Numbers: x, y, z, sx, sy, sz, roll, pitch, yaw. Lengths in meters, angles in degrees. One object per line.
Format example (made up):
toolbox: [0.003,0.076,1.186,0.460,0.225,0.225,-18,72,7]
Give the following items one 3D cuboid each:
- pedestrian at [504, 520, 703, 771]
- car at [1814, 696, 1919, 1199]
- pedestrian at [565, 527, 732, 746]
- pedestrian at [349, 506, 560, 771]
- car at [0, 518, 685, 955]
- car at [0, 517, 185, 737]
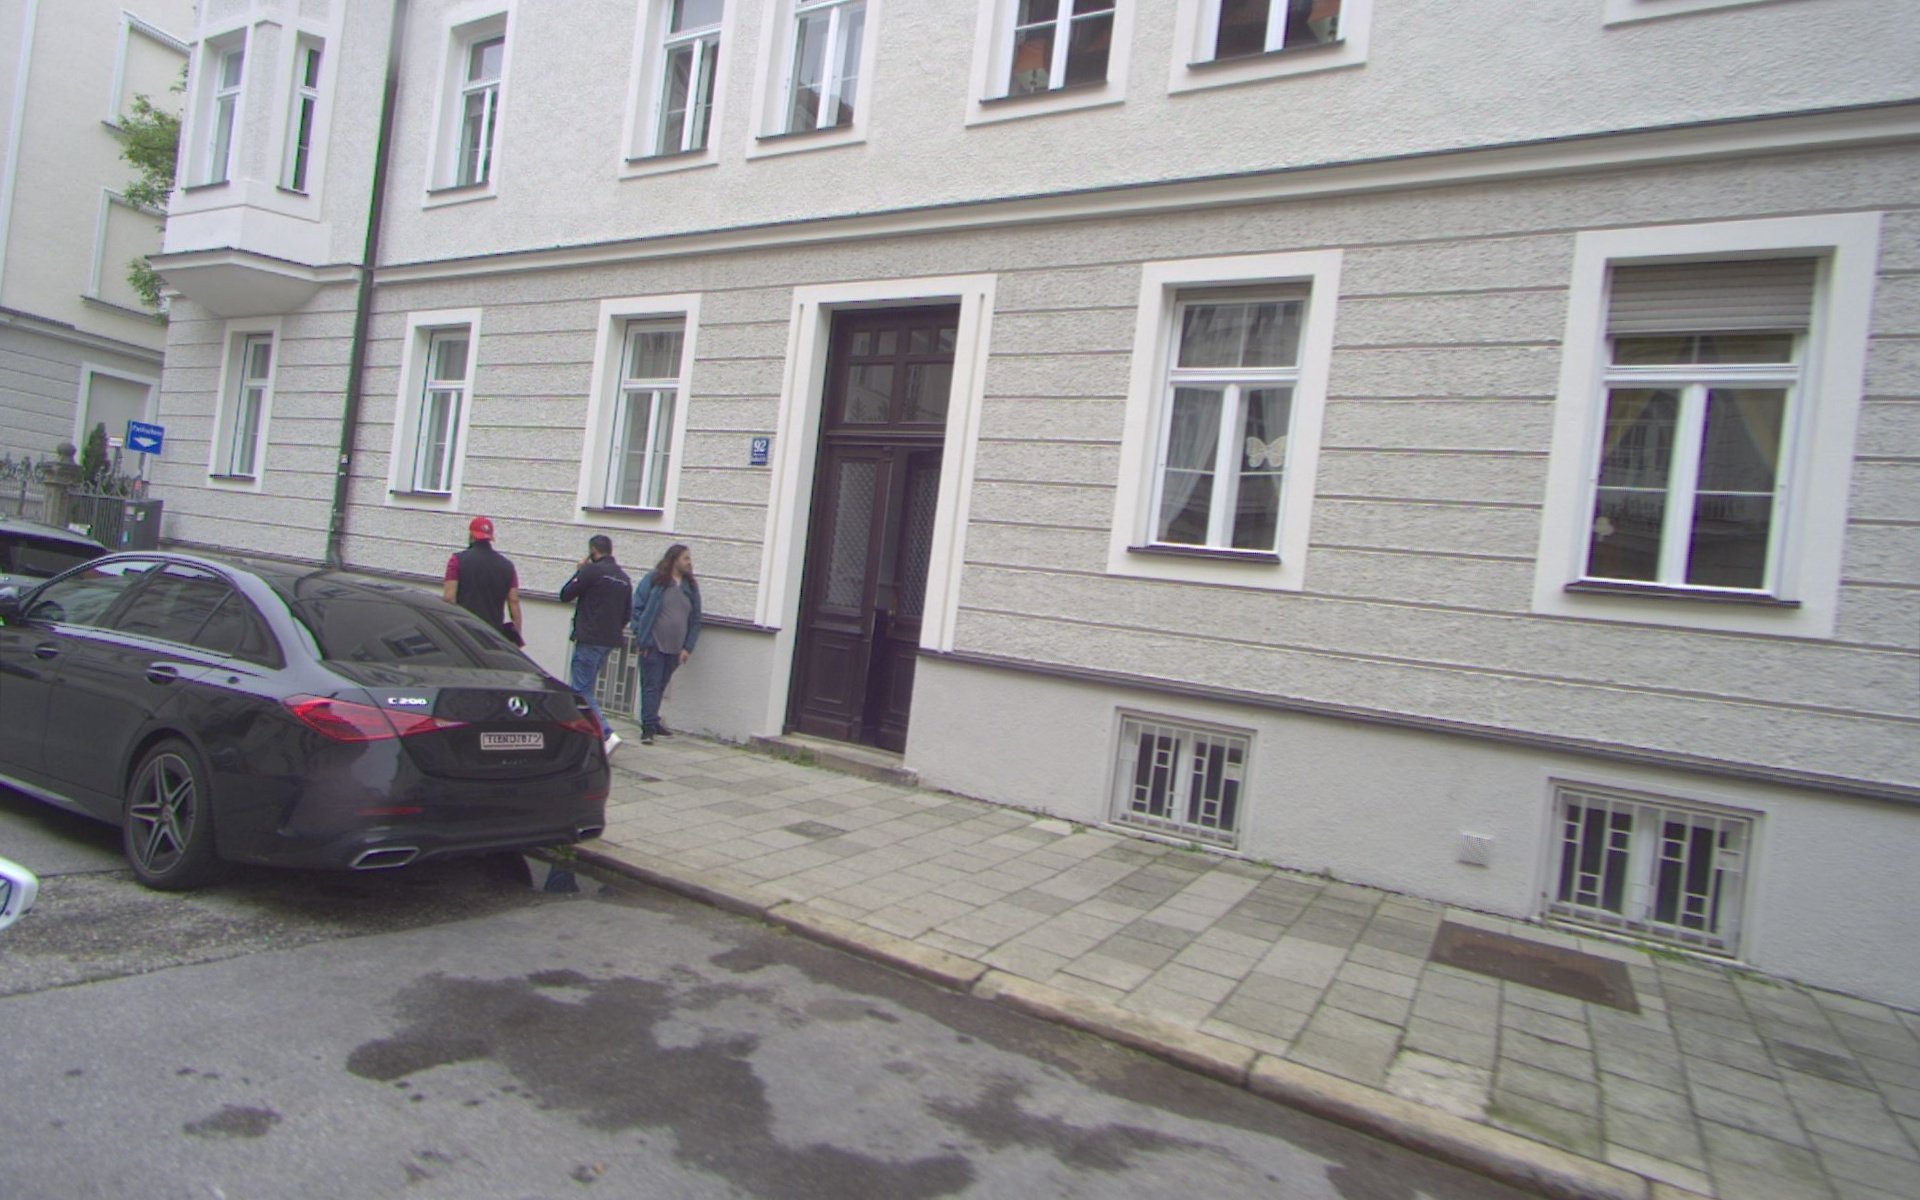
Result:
pedestrian: [-2.870,0.342,8.120,1.092,1.810,0.884,7,2,30]
car: [3.662,1.203,0.850,4.117,1.693,1.806,7,-3,29]
pedestrian: [-2.894,0.307,9.363,1.092,1.838,0.883,7,4,31]
pedestrian: [-3.897,0.271,7.777,1.092,1.835,0.884,7,2,31]
car: [-4.153,0.457,5.693,4.885,1.415,1.843,7,-2,26]
car: [-8.458,-0.013,8.176,4.345,1.501,1.766,7,-3,30]
